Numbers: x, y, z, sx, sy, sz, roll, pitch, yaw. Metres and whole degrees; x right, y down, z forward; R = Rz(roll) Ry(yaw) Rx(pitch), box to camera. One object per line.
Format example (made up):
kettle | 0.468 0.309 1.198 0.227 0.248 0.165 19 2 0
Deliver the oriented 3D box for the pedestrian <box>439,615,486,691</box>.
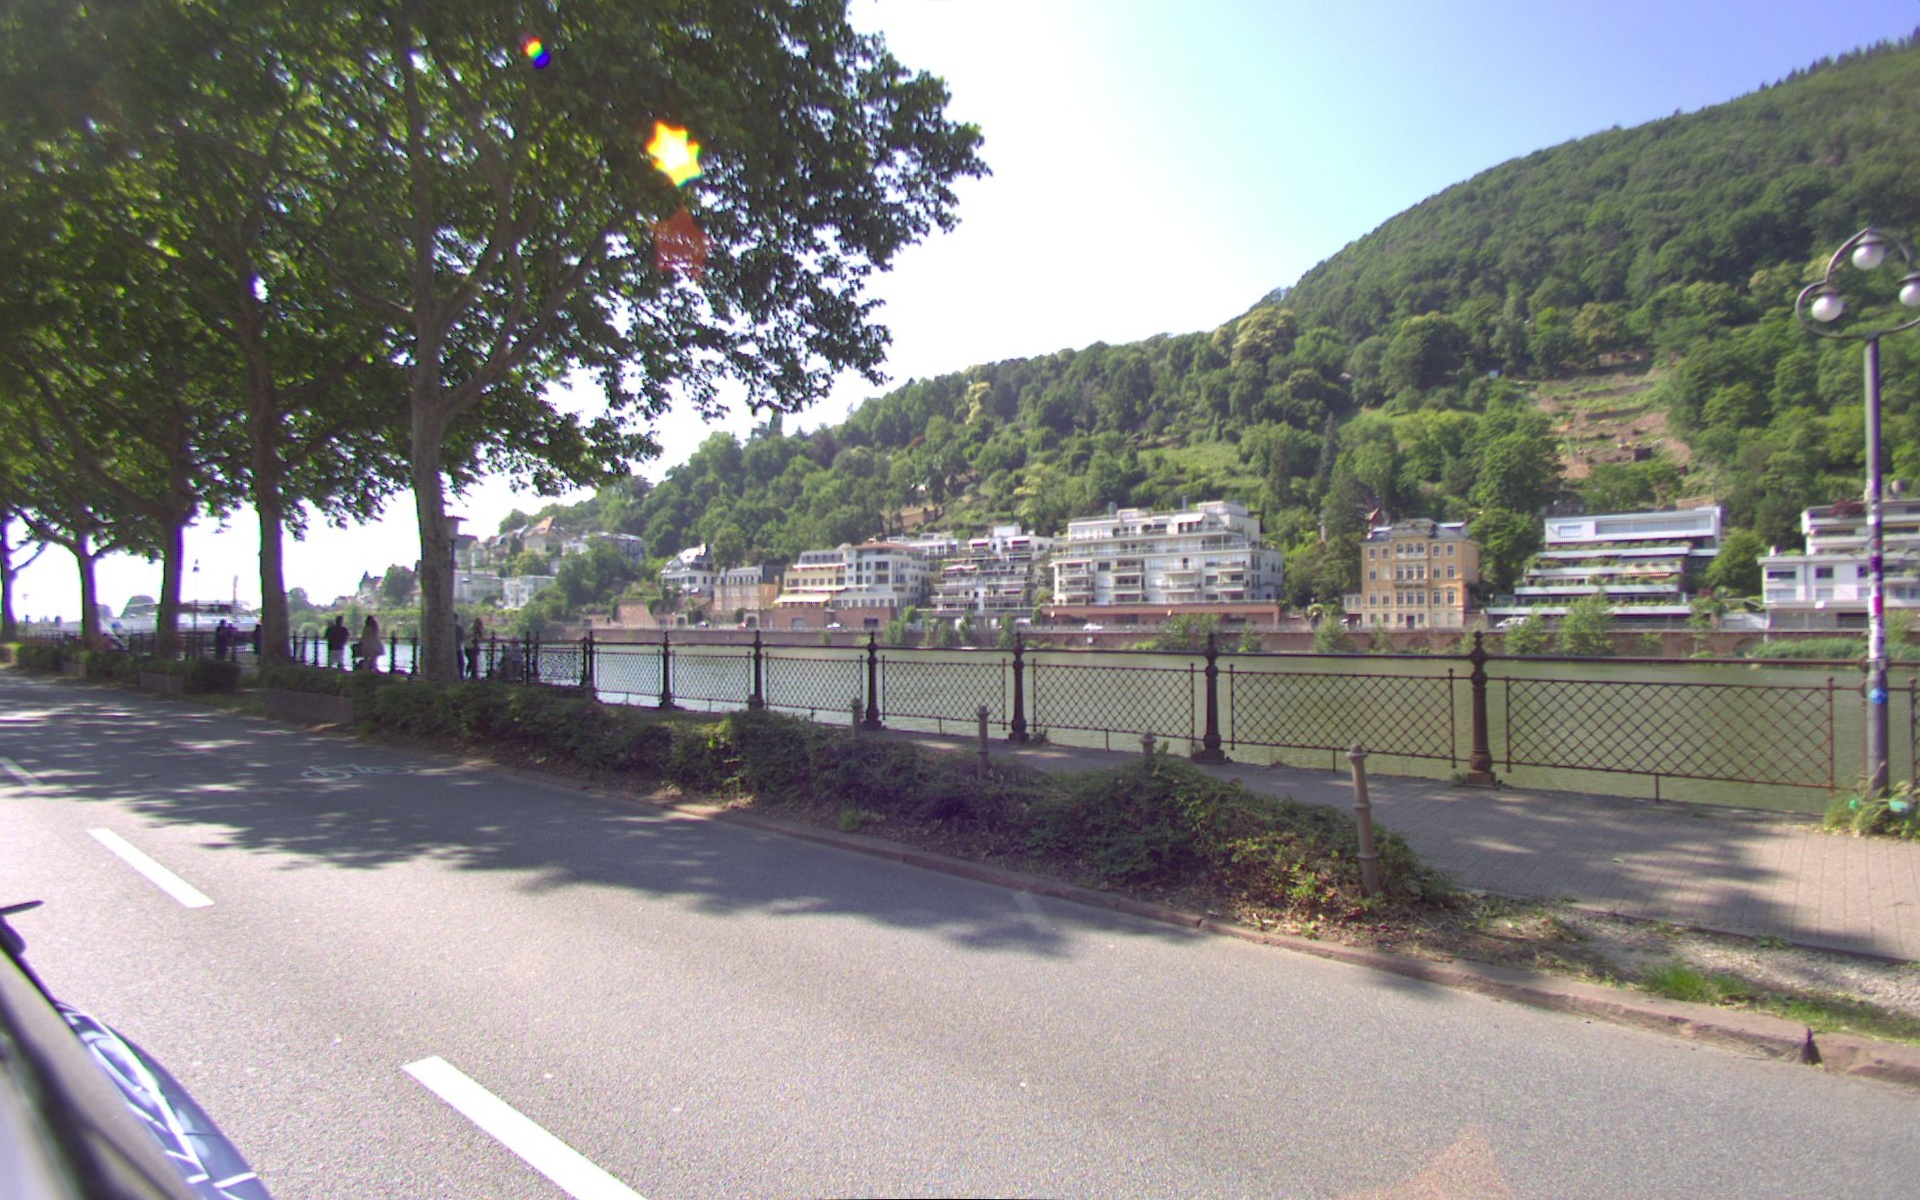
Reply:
pedestrian | -11.732 1.227 23.867 0.873 1.730 0.686 -1 0 40

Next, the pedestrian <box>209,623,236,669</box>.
pedestrian | -28.351 1.768 38.918 0.705 1.744 0.696 -1 -2 43

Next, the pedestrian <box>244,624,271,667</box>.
pedestrian | -26.709 1.732 38.497 0.705 1.615 0.696 -1 -2 43

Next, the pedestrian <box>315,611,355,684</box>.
pedestrian | -16.339 1.234 26.462 0.805 1.884 0.634 -2 -4 42

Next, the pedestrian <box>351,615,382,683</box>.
pedestrian | -15.705 1.290 26.773 0.592 1.782 0.511 -2 -4 42
